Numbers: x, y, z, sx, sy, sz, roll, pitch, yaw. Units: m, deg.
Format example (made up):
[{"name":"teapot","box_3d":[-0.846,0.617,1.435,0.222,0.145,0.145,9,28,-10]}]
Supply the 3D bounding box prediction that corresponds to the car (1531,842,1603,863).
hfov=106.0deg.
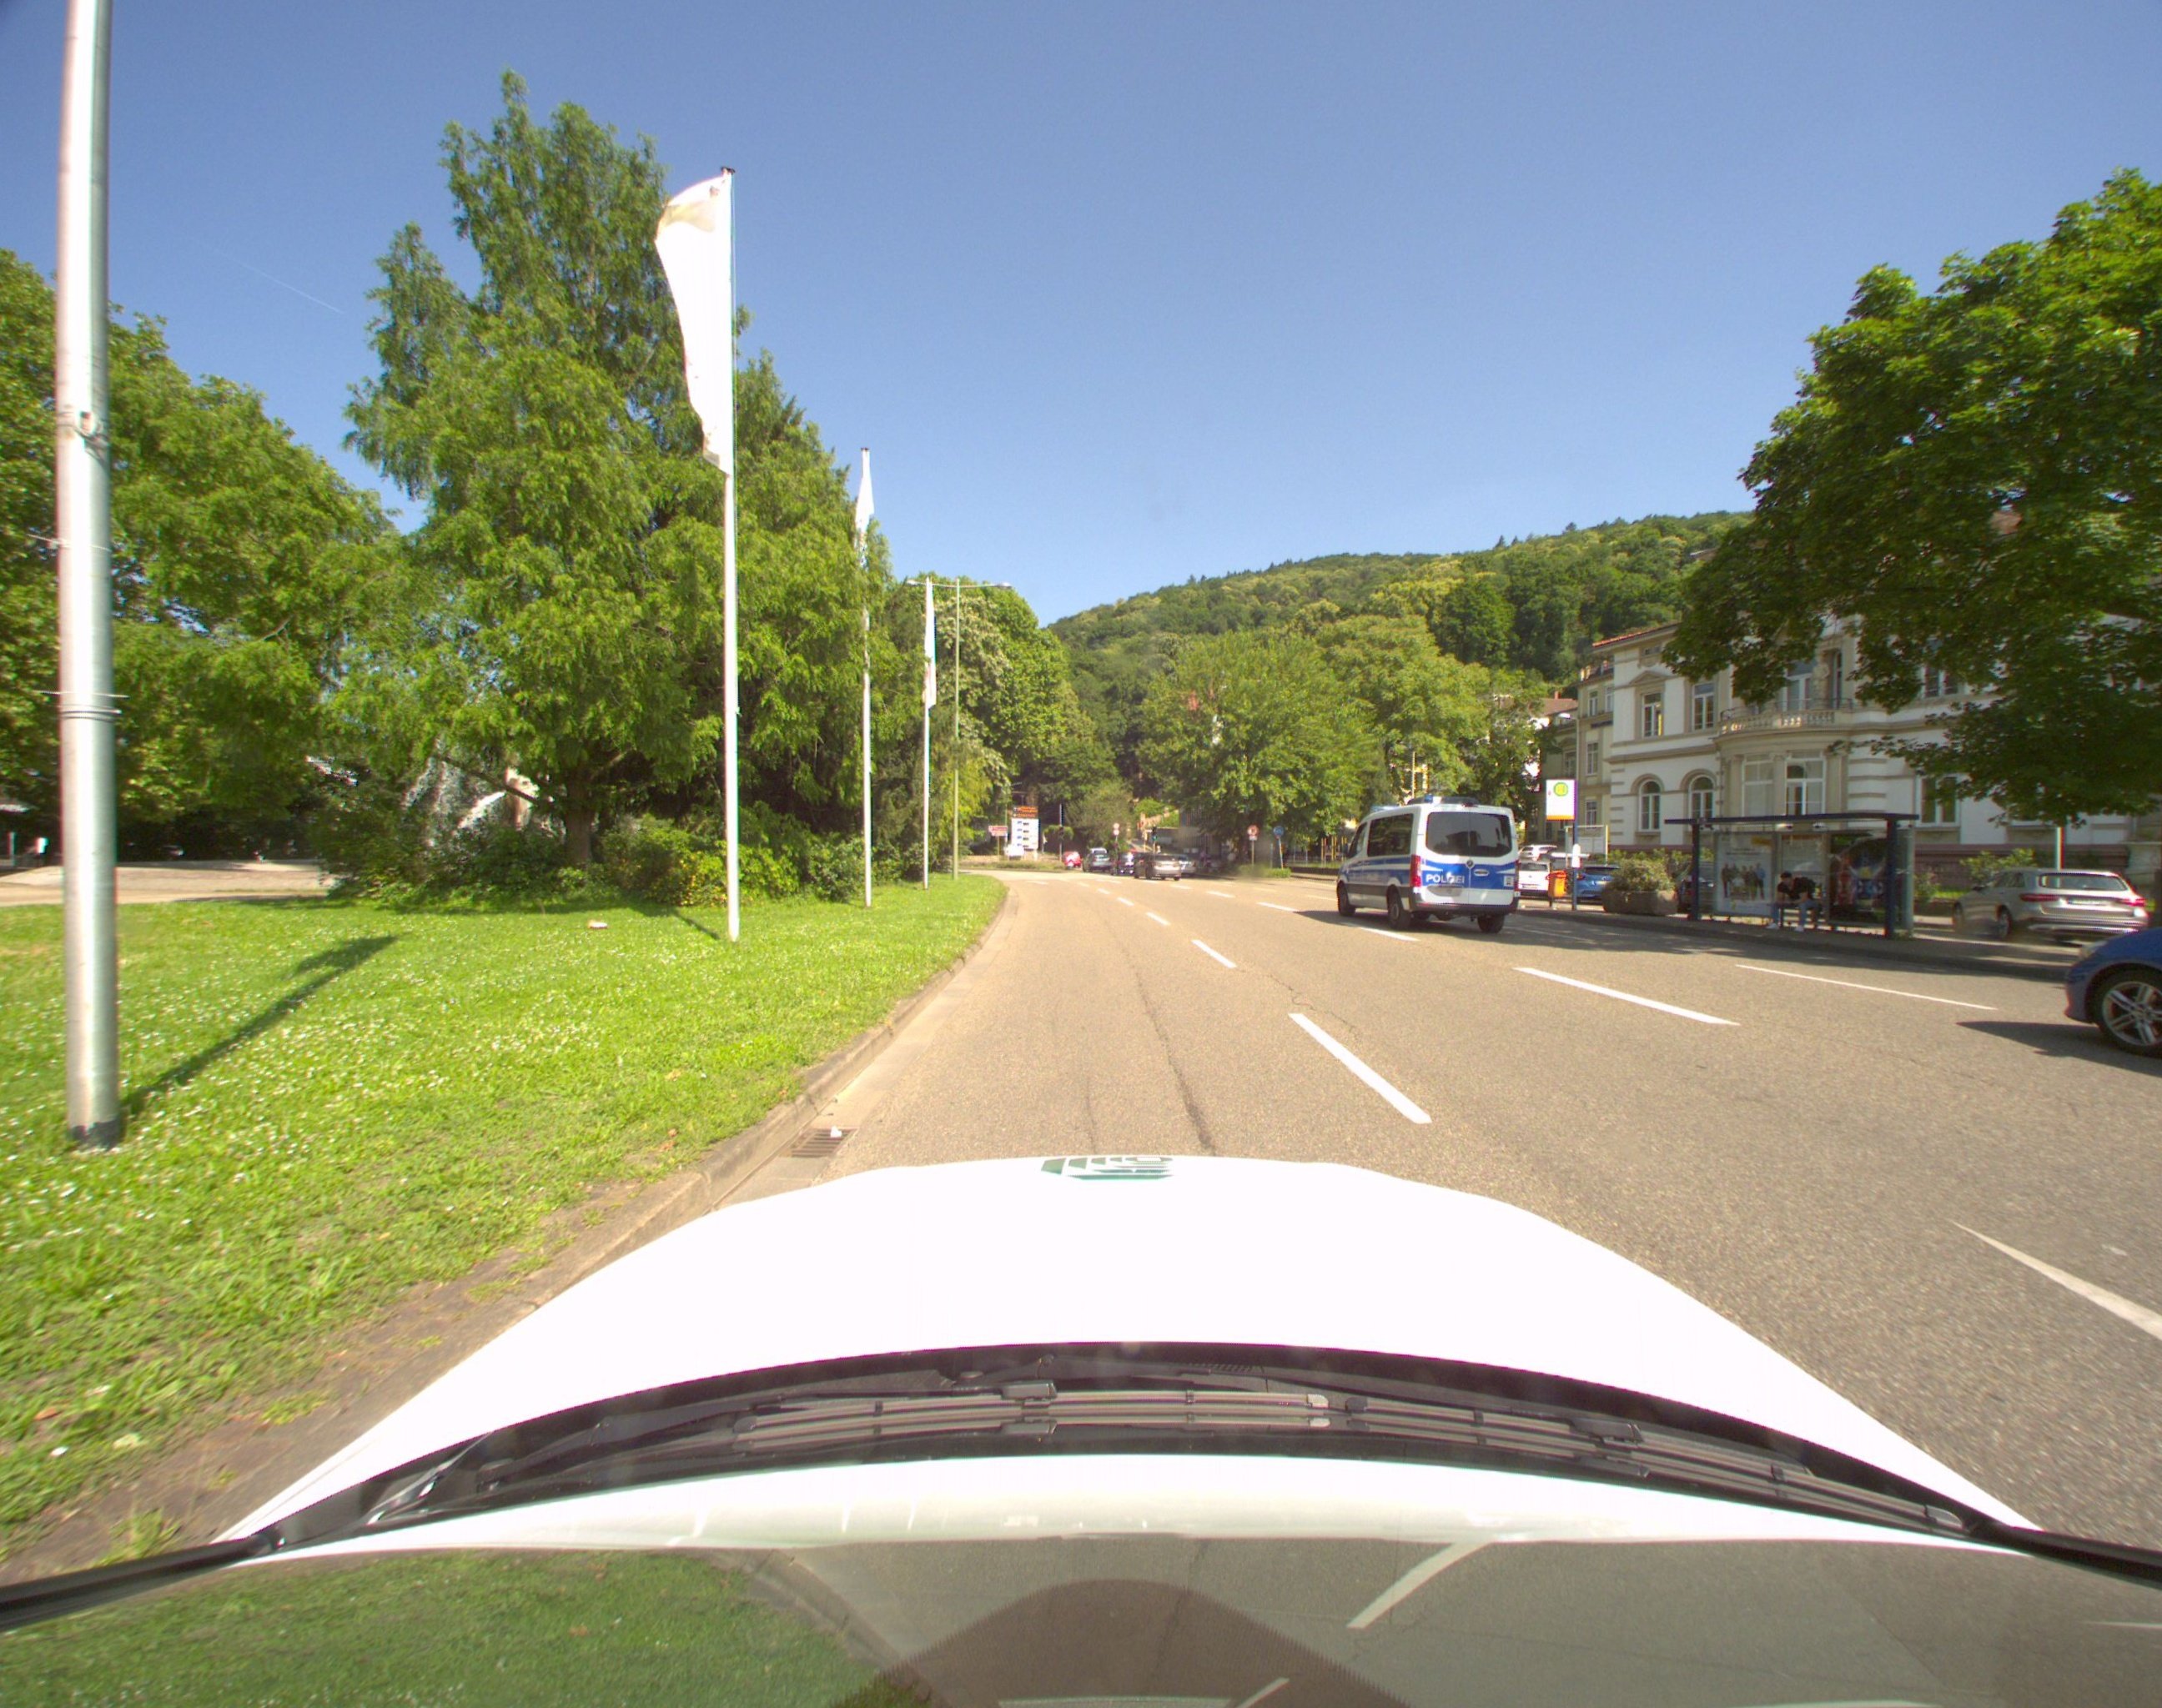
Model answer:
[{"name":"car","box_3d":[33.342,-0.090,55.927,4.048,1.419,1.816,0,0,-9]}]

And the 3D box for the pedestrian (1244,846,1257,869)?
[{"name":"pedestrian","box_3d":[13.580,0.256,65.102,0.770,1.854,0.827,1,0,-8]}]

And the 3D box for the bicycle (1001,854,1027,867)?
[{"name":"bicycle","box_3d":[-5.830,0.542,70.885,2.060,1.112,0.760,1,0,18]}]

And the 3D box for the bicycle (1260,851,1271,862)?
[{"name":"bicycle","box_3d":[17.573,0.216,77.645,0.536,1.085,1.832,0,0,-4]}]

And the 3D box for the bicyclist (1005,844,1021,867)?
[{"name":"bicyclist","box_3d":[-5.914,0.138,70.905,1.117,1.932,0.752,0,0,18]}]

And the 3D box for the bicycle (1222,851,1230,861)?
[{"name":"bicycle","box_3d":[14.712,0.193,82.773,0.404,1.012,1.338,0,1,-6]}]

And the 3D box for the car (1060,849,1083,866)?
[{"name":"car","box_3d":[-0.850,0.336,74.367,1.754,1.461,3.486,1,0,-7]}]

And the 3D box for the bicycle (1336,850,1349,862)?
[{"name":"bicycle","box_3d":[25.018,0.197,78.061,0.536,1.085,1.832,0,0,-4]}]

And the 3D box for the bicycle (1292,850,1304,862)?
[{"name":"bicycle","box_3d":[20.698,0.208,77.851,0.536,1.085,1.832,0,0,-4]}]

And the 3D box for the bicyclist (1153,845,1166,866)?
[{"name":"bicyclist","box_3d":[7.121,0.149,73.550,1.120,1.932,0.749,1,0,6]}]

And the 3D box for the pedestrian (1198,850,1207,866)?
[{"name":"pedestrian","box_3d":[10.929,0.377,73.154,0.490,1.458,0.730,0,0,-18]}]

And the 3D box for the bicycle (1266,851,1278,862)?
[{"name":"bicycle","box_3d":[18.214,0.214,77.695,0.536,1.085,1.832,0,0,-4]}]

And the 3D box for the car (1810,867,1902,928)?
[{"name":"car","box_3d":[20.568,1.110,21.691,1.186,1.482,2.302,1,0,28]}]

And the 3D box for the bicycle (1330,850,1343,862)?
[{"name":"bicycle","box_3d":[24.431,0.198,77.967,0.536,1.085,1.832,0,0,-4]}]

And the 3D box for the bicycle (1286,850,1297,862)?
[{"name":"bicycle","box_3d":[20.105,0.209,77.775,0.536,1.085,1.832,0,0,-4]}]

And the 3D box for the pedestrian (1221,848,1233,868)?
[{"name":"pedestrian","box_3d":[11.882,0.326,66.467,0.770,1.662,0.828,1,0,-6]}]

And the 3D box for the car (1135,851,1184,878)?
[{"name":"car","box_3d":[4.141,0.552,43.492,1.755,1.334,3.792,1,0,-8]}]

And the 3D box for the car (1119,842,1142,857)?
[{"name":"car","box_3d":[5.547,-0.490,91.627,1.929,1.697,3.991,0,0,-7]}]

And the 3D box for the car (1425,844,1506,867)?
[{"name":"car","box_3d":[23.032,0.056,48.876,4.039,1.336,1.985,0,0,-9]}]

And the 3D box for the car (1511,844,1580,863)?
[{"name":"car","box_3d":[33.165,-0.046,58.212,4.075,1.336,1.816,0,0,-9]}]

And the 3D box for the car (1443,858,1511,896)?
[{"name":"car","box_3d":[16.879,0.925,34.652,1.804,1.461,4.133,1,0,37]}]

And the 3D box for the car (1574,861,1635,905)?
[{"name":"car","box_3d":[18.810,0.986,29.381,1.692,1.442,3.835,1,0,31]}]

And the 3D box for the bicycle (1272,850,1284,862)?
[{"name":"bicycle","box_3d":[18.806,0.213,77.755,0.536,1.085,1.832,0,0,-4]}]

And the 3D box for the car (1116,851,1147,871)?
[{"name":"car","box_3d":[3.880,0.522,63.026,1.754,1.461,3.637,1,0,-7]}]

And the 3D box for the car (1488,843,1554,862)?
[{"name":"car","box_3d":[32.700,-0.107,60.579,4.039,1.336,1.816,0,0,-9]}]

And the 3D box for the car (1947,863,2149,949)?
[{"name":"car","box_3d":[21.302,1.040,18.176,1.692,1.629,4.343,1,0,33]}]

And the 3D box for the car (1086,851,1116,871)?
[{"name":"car","box_3d":[1.469,0.502,60.358,1.754,1.461,3.637,1,0,-7]}]

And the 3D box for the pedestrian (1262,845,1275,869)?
[{"name":"pedestrian","box_3d":[15.019,0.247,65.302,0.770,1.854,0.827,1,0,-8]}]

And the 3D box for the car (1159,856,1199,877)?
[{"name":"car","box_3d":[6.101,0.754,51.220,1.754,1.213,3.486,1,0,-7]}]

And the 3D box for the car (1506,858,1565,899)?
[{"name":"car","box_3d":[18.077,0.912,32.320,1.692,1.511,3.836,1,0,34]}]

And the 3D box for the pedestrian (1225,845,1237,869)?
[{"name":"pedestrian","box_3d":[12.035,0.229,65.306,0.769,1.854,0.828,1,0,-4]}]

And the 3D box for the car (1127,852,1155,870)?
[{"name":"car","box_3d":[5.092,0.596,69.643,1.754,1.461,3.486,1,0,-7]}]

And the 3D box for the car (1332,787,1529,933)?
[{"name":"car","box_3d":[6.840,0.110,16.622,2.065,2.508,4.932,1,0,2]}]

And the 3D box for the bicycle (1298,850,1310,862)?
[{"name":"bicycle","box_3d":[21.340,0.206,77.928,0.536,1.085,1.832,0,0,-4]}]

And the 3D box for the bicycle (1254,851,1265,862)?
[{"name":"bicycle","box_3d":[17.013,0.217,77.640,0.536,1.085,1.832,0,0,-4]}]

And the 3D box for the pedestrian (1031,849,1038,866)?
[{"name":"pedestrian","box_3d":[-4.374,0.298,76.630,0.544,1.621,0.635,0,1,3]}]

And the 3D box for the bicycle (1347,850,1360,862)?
[{"name":"bicycle","box_3d":[26.217,0.194,78.303,0.536,1.085,1.832,0,0,-4]}]

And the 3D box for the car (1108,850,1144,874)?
[{"name":"car","box_3d":[2.836,0.503,52.070,1.754,1.461,3.486,1,0,-7]}]

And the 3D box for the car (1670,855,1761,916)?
[{"name":"car","box_3d":[19.671,0.903,25.421,1.692,1.696,4.301,1,0,31]}]

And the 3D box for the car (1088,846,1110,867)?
[{"name":"car","box_3d":[1.733,0.242,79.408,1.754,1.938,3.486,1,0,-7]}]

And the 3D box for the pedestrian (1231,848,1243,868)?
[{"name":"pedestrian","box_3d":[12.635,0.327,66.022,0.770,1.662,0.828,1,0,-5]}]

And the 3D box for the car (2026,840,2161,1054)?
[{"name":"car","box_3d":[8.495,0.704,4.617,1.709,1.541,4.282,2,1,9]}]

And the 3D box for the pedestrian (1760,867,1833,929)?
[{"name":"pedestrian","box_3d":[14.417,0.867,16.411,1.023,1.197,0.785,1,0,-27]}]
